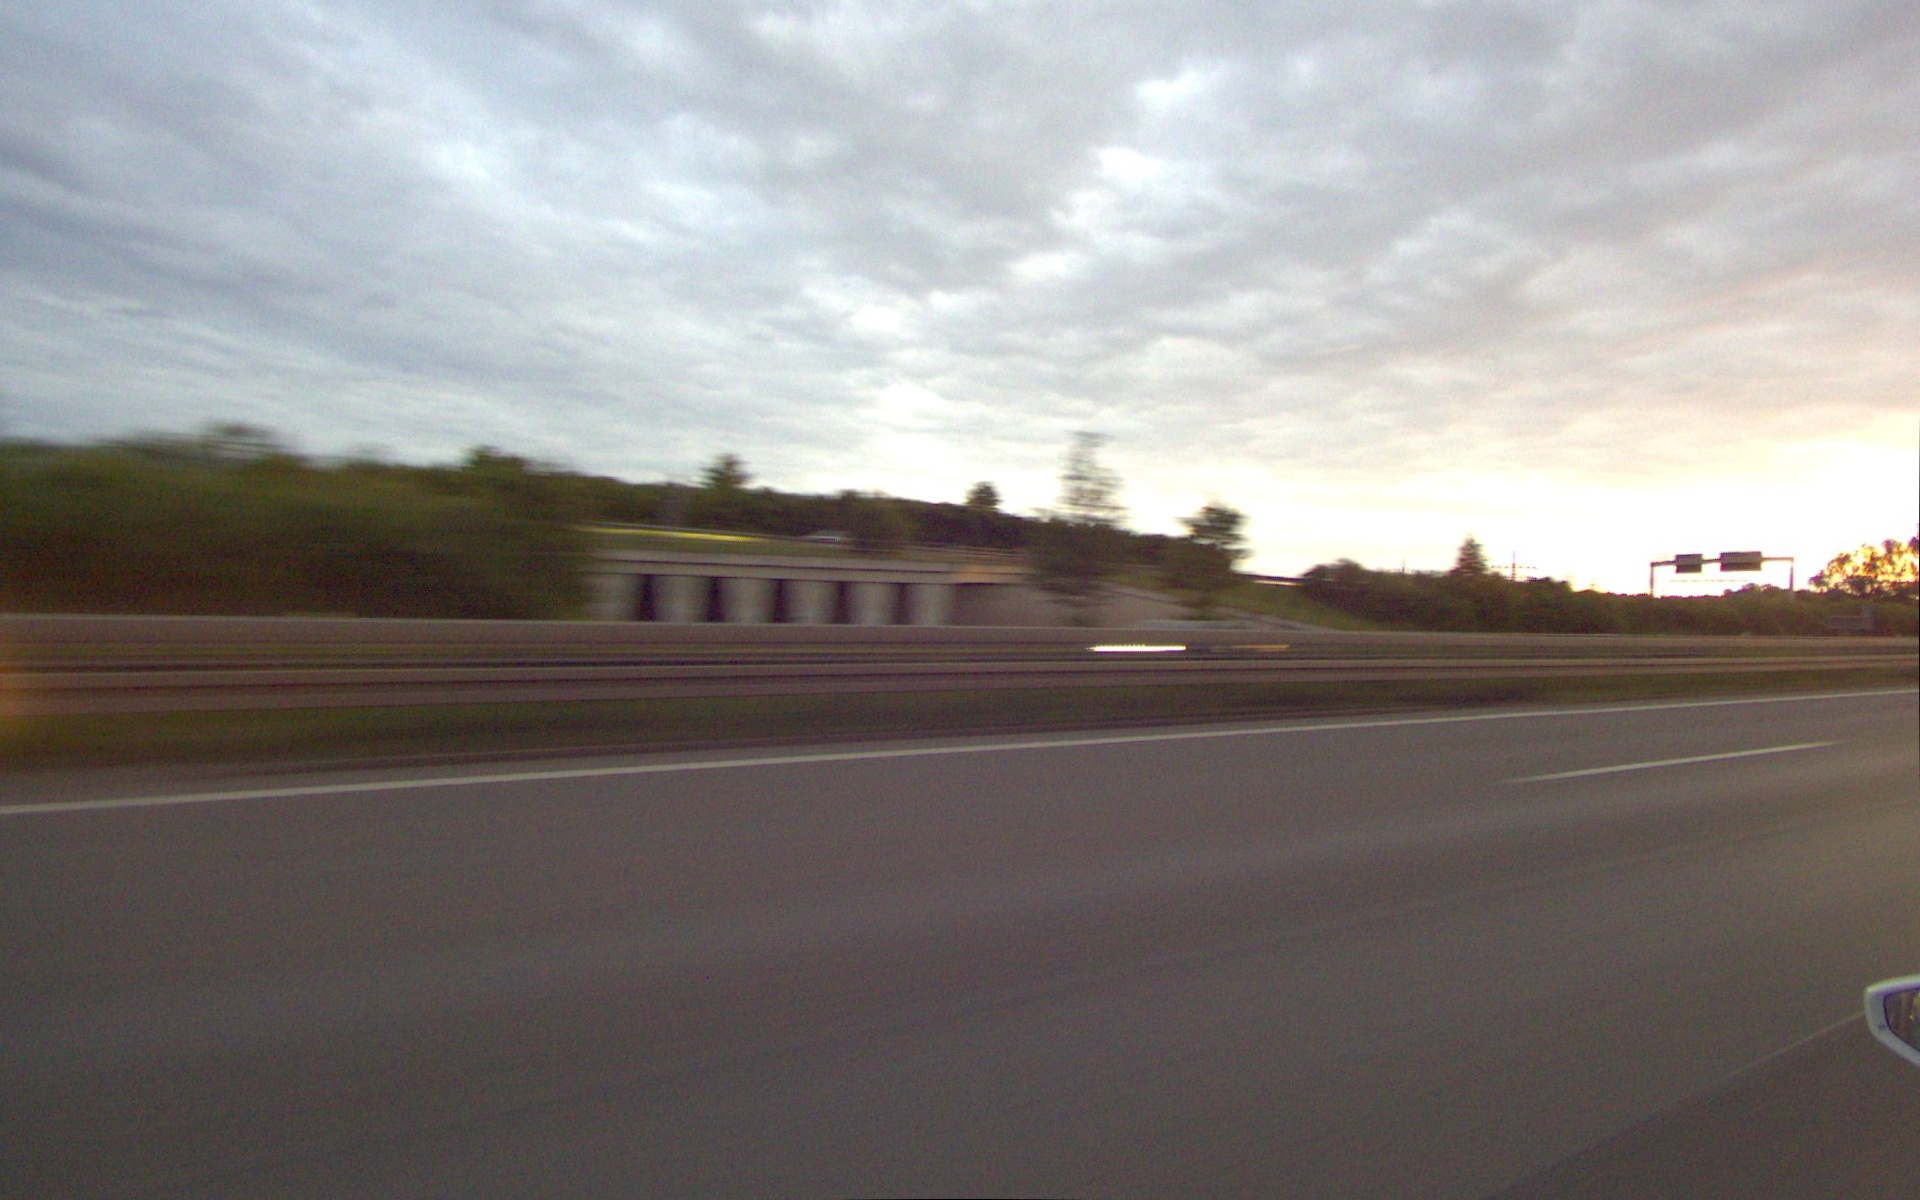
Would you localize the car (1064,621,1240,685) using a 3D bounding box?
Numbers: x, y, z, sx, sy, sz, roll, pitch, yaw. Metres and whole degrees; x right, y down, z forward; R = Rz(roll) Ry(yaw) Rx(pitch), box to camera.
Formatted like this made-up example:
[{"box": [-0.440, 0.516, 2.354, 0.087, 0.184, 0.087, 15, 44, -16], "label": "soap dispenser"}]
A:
[{"box": [4.976, 1.373, 25.876, 4.378, 1.420, 1.681, 3, 1, -30], "label": "car"}]
